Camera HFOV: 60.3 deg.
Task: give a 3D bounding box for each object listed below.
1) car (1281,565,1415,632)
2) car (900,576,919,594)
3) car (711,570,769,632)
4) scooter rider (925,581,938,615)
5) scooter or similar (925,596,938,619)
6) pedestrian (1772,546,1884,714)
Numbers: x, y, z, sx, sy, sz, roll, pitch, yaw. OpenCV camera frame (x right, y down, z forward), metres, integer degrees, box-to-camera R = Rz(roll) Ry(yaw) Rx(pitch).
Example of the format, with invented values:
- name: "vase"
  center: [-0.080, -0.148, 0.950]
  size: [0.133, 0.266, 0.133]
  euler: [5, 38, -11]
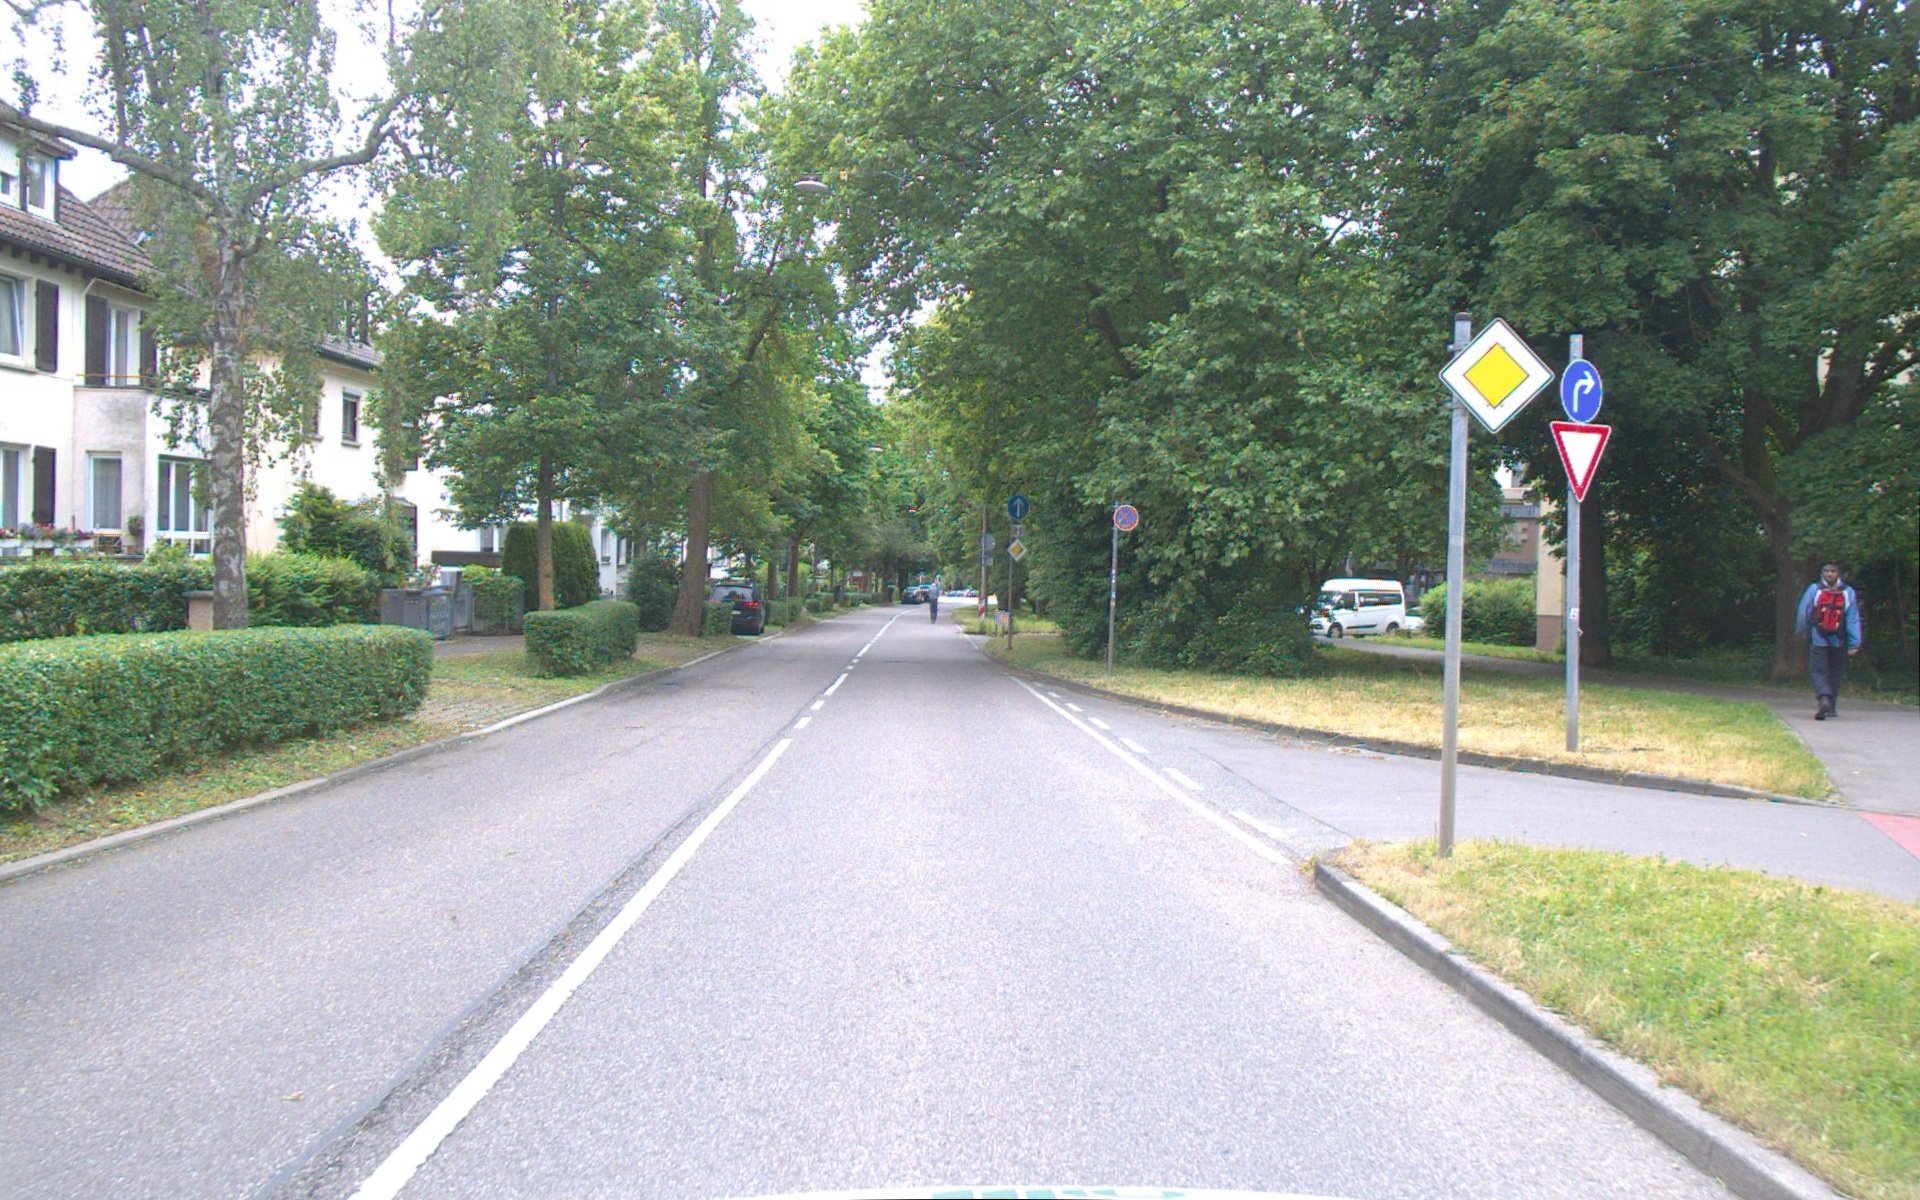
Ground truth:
- name: "car"
  center: [15.363, -0.055, 65.319]
  size: [5.326, 2.336, 2.111]
  euler: [2, 3, -37]
- name: "car"
  center: [-4.930, -1.440, 161.772]
  size: [1.797, 1.524, 3.656]
  euler: [4, 2, -2]
- name: "car"
  center: [-7.122, -0.013, 53.887]
  size: [1.611, 1.754, 3.797]
  euler: [4, 2, -5]
- name: "scooter rider"
  center: [-1.366, -0.099, 79.179]
  size: [0.588, 1.579, 0.566]
  euler: [0, 2, 1]
- name: "scooter or similar"
  center: [-1.368, 0.357, 79.043]
  size: [0.588, 1.073, 0.873]
  euler: [0, 2, 1]
- name: "pedestrian"
  center: [10.400, 0.346, 19.850]
  size: [0.904, 1.903, 1.020]
  euler: [-2, 3, 11]
